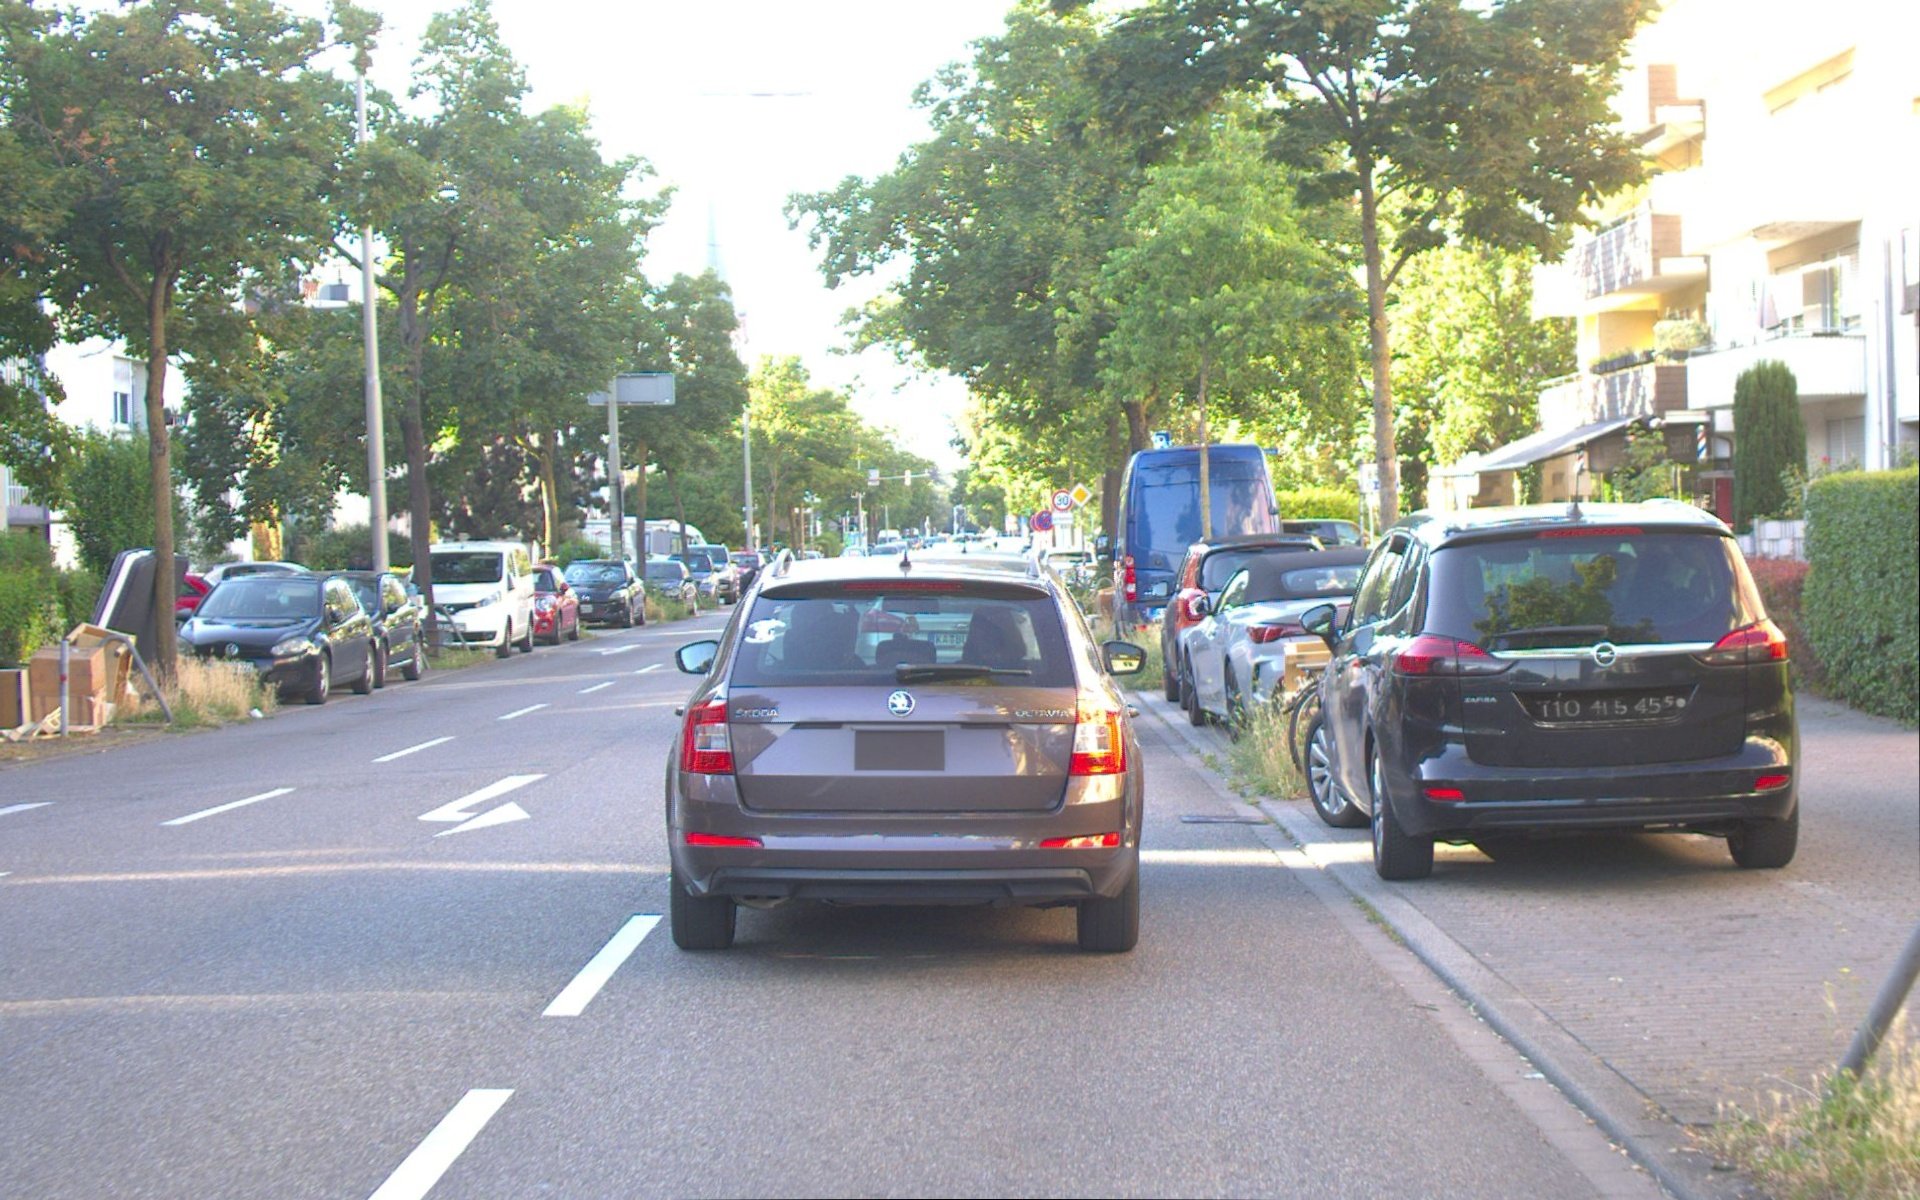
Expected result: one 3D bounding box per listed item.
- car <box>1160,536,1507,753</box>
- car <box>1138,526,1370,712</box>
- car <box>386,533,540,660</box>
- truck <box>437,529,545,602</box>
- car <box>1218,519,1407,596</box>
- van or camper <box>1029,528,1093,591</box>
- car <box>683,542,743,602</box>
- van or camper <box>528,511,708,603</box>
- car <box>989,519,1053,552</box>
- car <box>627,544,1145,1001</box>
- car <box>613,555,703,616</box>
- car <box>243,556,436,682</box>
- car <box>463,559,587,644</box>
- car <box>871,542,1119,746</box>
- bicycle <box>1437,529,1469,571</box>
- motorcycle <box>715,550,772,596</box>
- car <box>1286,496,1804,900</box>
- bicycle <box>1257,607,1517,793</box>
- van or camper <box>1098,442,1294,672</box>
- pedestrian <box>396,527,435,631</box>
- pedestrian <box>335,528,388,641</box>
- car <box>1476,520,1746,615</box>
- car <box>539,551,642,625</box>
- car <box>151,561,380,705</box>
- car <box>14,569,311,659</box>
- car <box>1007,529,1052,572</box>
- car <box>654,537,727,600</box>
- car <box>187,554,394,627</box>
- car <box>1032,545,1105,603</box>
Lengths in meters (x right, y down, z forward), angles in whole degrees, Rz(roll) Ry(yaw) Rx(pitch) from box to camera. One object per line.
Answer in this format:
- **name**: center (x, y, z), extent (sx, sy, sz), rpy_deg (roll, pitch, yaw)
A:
- **car**: center (2.789, 0.271, 26.745), extent (1.920, 1.481, 4.747), rpy_deg (-1, 1, -3)
- **car**: center (2.740, 0.157, 32.756), extent (1.772, 1.636, 3.757), rpy_deg (-1, 0, -1)
- **car**: center (-7.937, -0.101, 55.261), extent (1.770, 1.912, 4.460), rpy_deg (-1, 1, 0)
- **truck**: center (-13.720, -1.021, 100.608), extent (2.913, 2.086, 1.546), rpy_deg (-1, 1, 0)
- **car**: center (9.117, -1.110, 88.876), extent (4.532, 1.886, 1.915), rpy_deg (-2, 1, -27)
- **van or camper**: center (3.296, -1.345, 112.907), extent (1.993, 2.007, 4.000), rpy_deg (-1, 1, 0)
- **car**: center (-7.448, -0.859, 103.746), extent (1.507, 1.751, 3.694), rpy_deg (-1, 1, 0)
- **van or camper**: center (-14.943, -1.892, 150.370), extent (7.640, 3.861, 2.000), rpy_deg (-1, 1, -1)
- **car**: center (3.440, -3.624, 193.002), extent (1.879, 1.751, 4.172), rpy_deg (0, 2, 28)
- **car**: center (-0.187, 0.554, 13.582), extent (1.729, 1.488, 3.951), rpy_deg (-1, 1, 2)
- **car**: center (-7.516, -0.381, 85.899), extent (1.754, 1.415, 4.425), rpy_deg (-1, 1, 1)
- **car**: center (-8.016, 0.215, 44.720), extent (1.750, 1.497, 3.979), rpy_deg (-1, 1, 0)
- **car**: center (-7.881, 0.006, 62.525), extent (1.717, 1.416, 3.786), rpy_deg (-1, 1, 0)
- **car**: center (0.215, 0.299, 27.978), extent (1.729, 1.488, 3.951), rpy_deg (-1, 1, -3)
- **bicycle**: center (11.270, -1.141, 78.546), extent (0.342, 0.947, 1.582), rpy_deg (2, 0, -5)
- **motorcycle**: center (-7.199, -0.891, 114.105), extent (0.764, 1.506, 2.029), rpy_deg (-2, 2, -42)
- **car**: center (2.619, 0.354, 16.328), extent (1.732, 1.645, 4.291), rpy_deg (-1, 1, 0)
- **bicycle**: center (2.550, 0.590, 20.553), extent (1.476, 1.055, 0.412), rpy_deg (-1, 1, -12)
- **van or camper**: center (2.891, -0.532, 43.354), extent (2.068, 2.666, 5.990), rpy_deg (-1, 0, 0)
- **pedestrian**: center (-10.565, -0.413, 66.701), extent (0.626, 2.007, 0.616), rpy_deg (-1, 1, 0)
- **pedestrian**: center (-10.834, -0.293, 62.266), extent (0.767, 2.007, 0.976), rpy_deg (-1, 1, 0)
- **car**: center (10.596, -0.542, 56.118), extent (3.986, 1.457, 1.825), rpy_deg (-1, 1, -3)
- **car**: center (-7.954, -0.275, 74.331), extent (1.717, 1.492, 4.248), rpy_deg (-1, 1, 0)
- **car**: center (-7.963, 0.334, 39.774), extent (1.750, 1.497, 4.197), rpy_deg (-1, 1, 0)
- **car**: center (-13.255, 0.216, 57.307), extent (4.709, 1.358, 2.001), rpy_deg (-1, 1, -12)
- **car**: center (2.991, -2.150, 148.698), extent (1.729, 1.809, 3.951), rpy_deg (-1, 1, -1)
- **car**: center (-7.750, -0.937, 99.081), extent (1.750, 1.734, 3.591), rpy_deg (-1, 1, 0)
- **car**: center (-13.902, -0.204, 71.533), extent (3.986, 1.474, 2.000), rpy_deg (0, 1, -3)
- **car**: center (2.827, -0.689, 89.000), extent (1.821, 1.408, 4.111), rpy_deg (-1, 1, 2)
